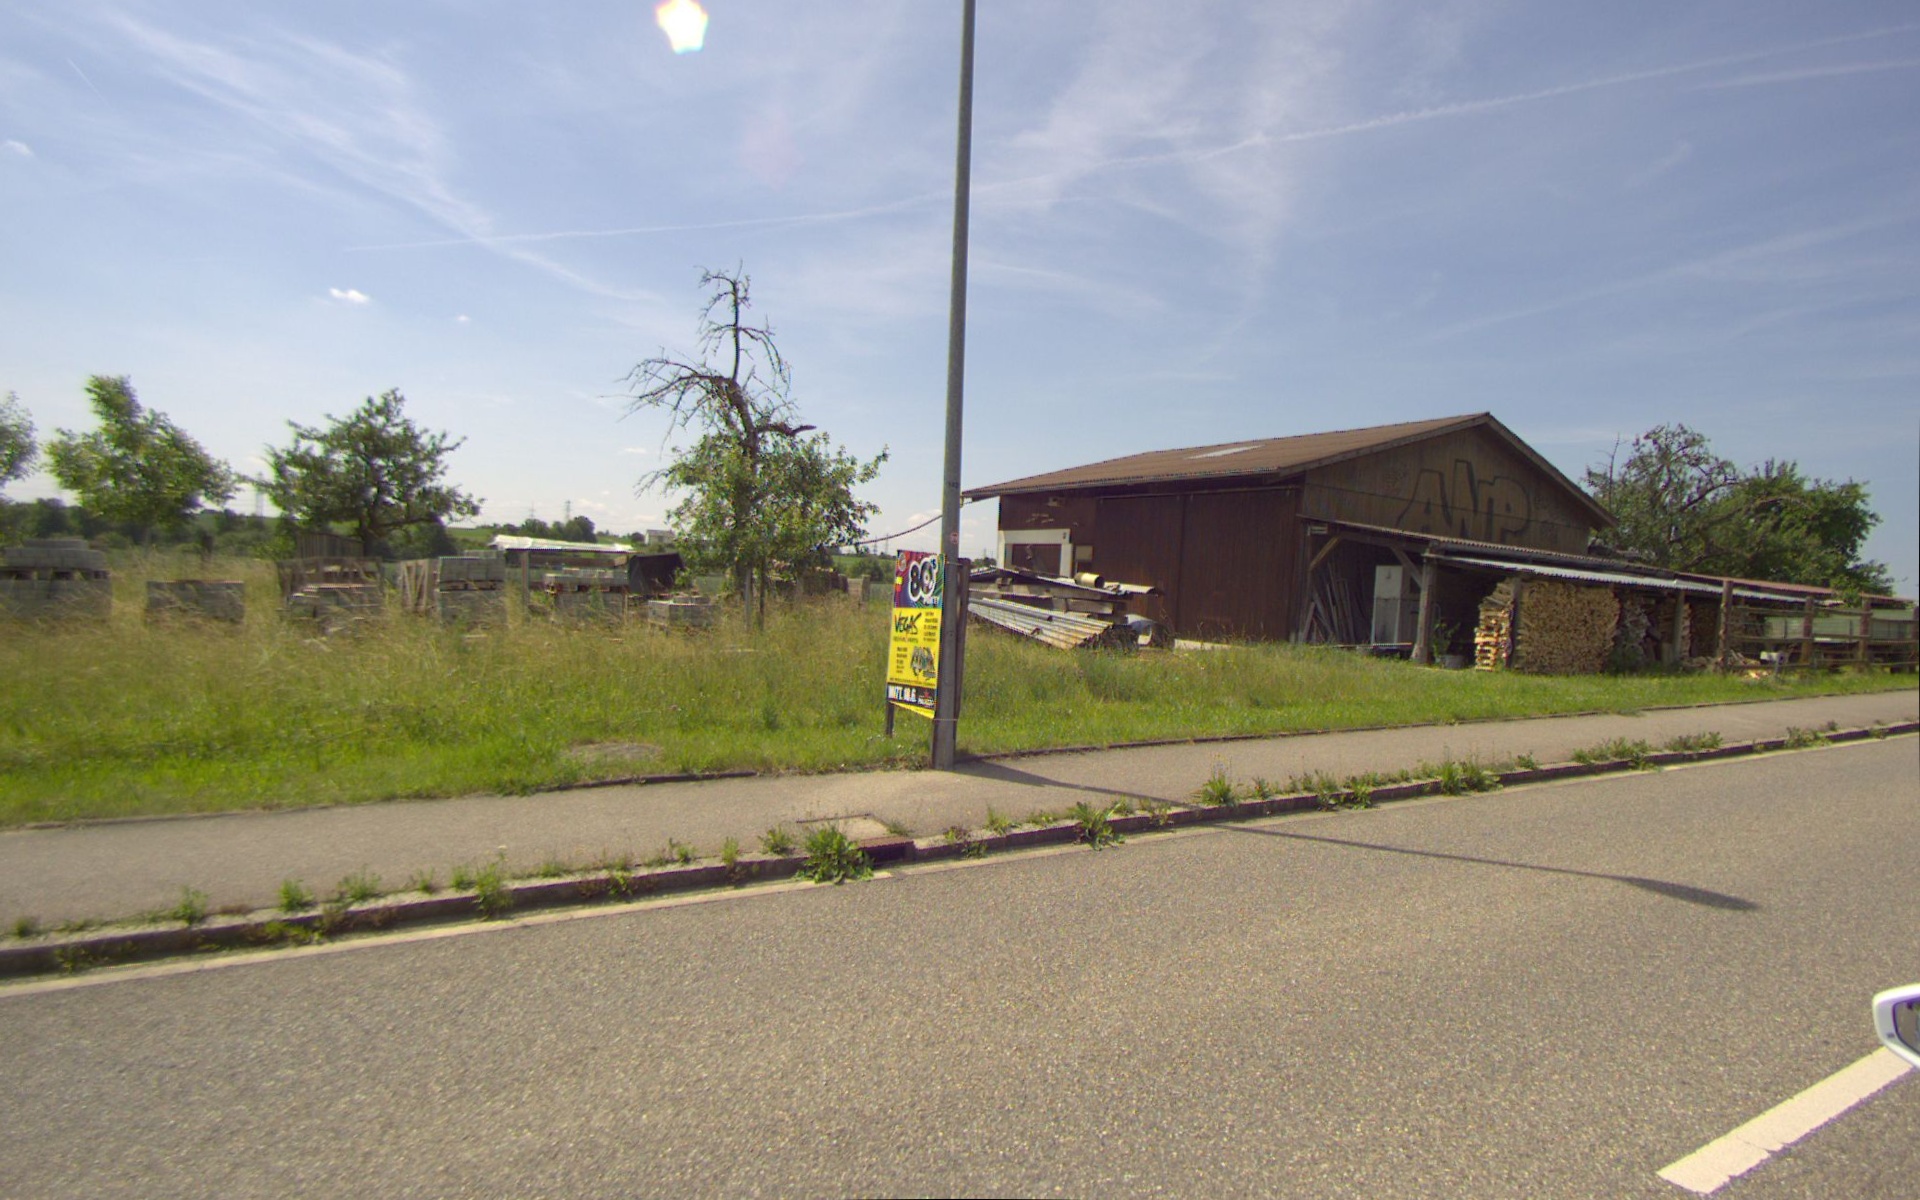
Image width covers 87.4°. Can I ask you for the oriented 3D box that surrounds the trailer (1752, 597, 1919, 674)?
[{"bbox_3d":[22.373,0.879,25.518,4.978,1.726,2.141,2,0,-34],"label":"trailer"}]
